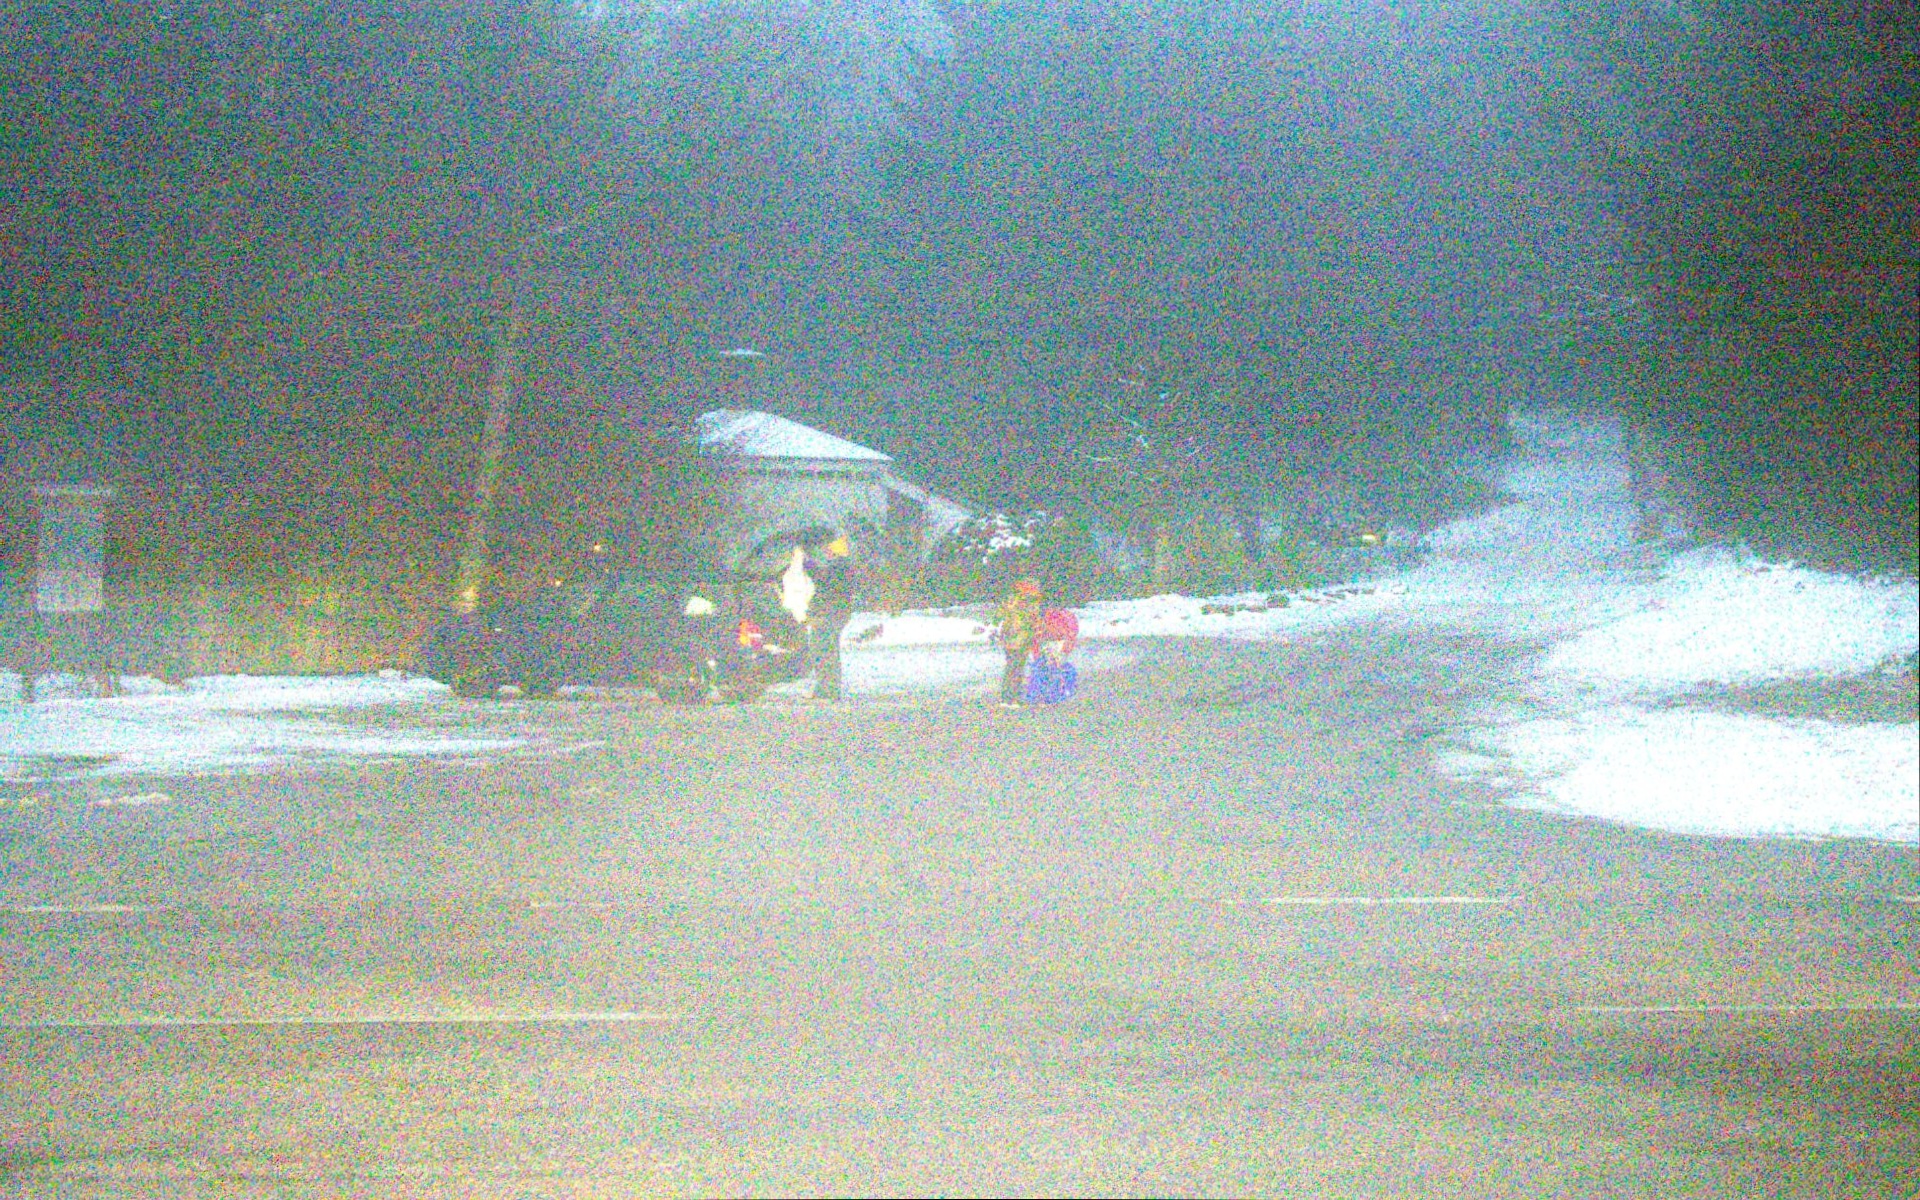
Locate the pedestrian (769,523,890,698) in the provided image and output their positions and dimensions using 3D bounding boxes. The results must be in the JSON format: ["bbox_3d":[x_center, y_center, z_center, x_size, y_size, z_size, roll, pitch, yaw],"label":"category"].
[{"bbox_3d":[-1.382,0.113,36.606,0.961,1.822,0.924,1,-1,21],"label":"pedestrian"}]

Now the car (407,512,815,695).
[{"bbox_3d":[-3.799,0.031,37.681,3.950,1.875,1.998,1,0,16],"label":"car"}]
